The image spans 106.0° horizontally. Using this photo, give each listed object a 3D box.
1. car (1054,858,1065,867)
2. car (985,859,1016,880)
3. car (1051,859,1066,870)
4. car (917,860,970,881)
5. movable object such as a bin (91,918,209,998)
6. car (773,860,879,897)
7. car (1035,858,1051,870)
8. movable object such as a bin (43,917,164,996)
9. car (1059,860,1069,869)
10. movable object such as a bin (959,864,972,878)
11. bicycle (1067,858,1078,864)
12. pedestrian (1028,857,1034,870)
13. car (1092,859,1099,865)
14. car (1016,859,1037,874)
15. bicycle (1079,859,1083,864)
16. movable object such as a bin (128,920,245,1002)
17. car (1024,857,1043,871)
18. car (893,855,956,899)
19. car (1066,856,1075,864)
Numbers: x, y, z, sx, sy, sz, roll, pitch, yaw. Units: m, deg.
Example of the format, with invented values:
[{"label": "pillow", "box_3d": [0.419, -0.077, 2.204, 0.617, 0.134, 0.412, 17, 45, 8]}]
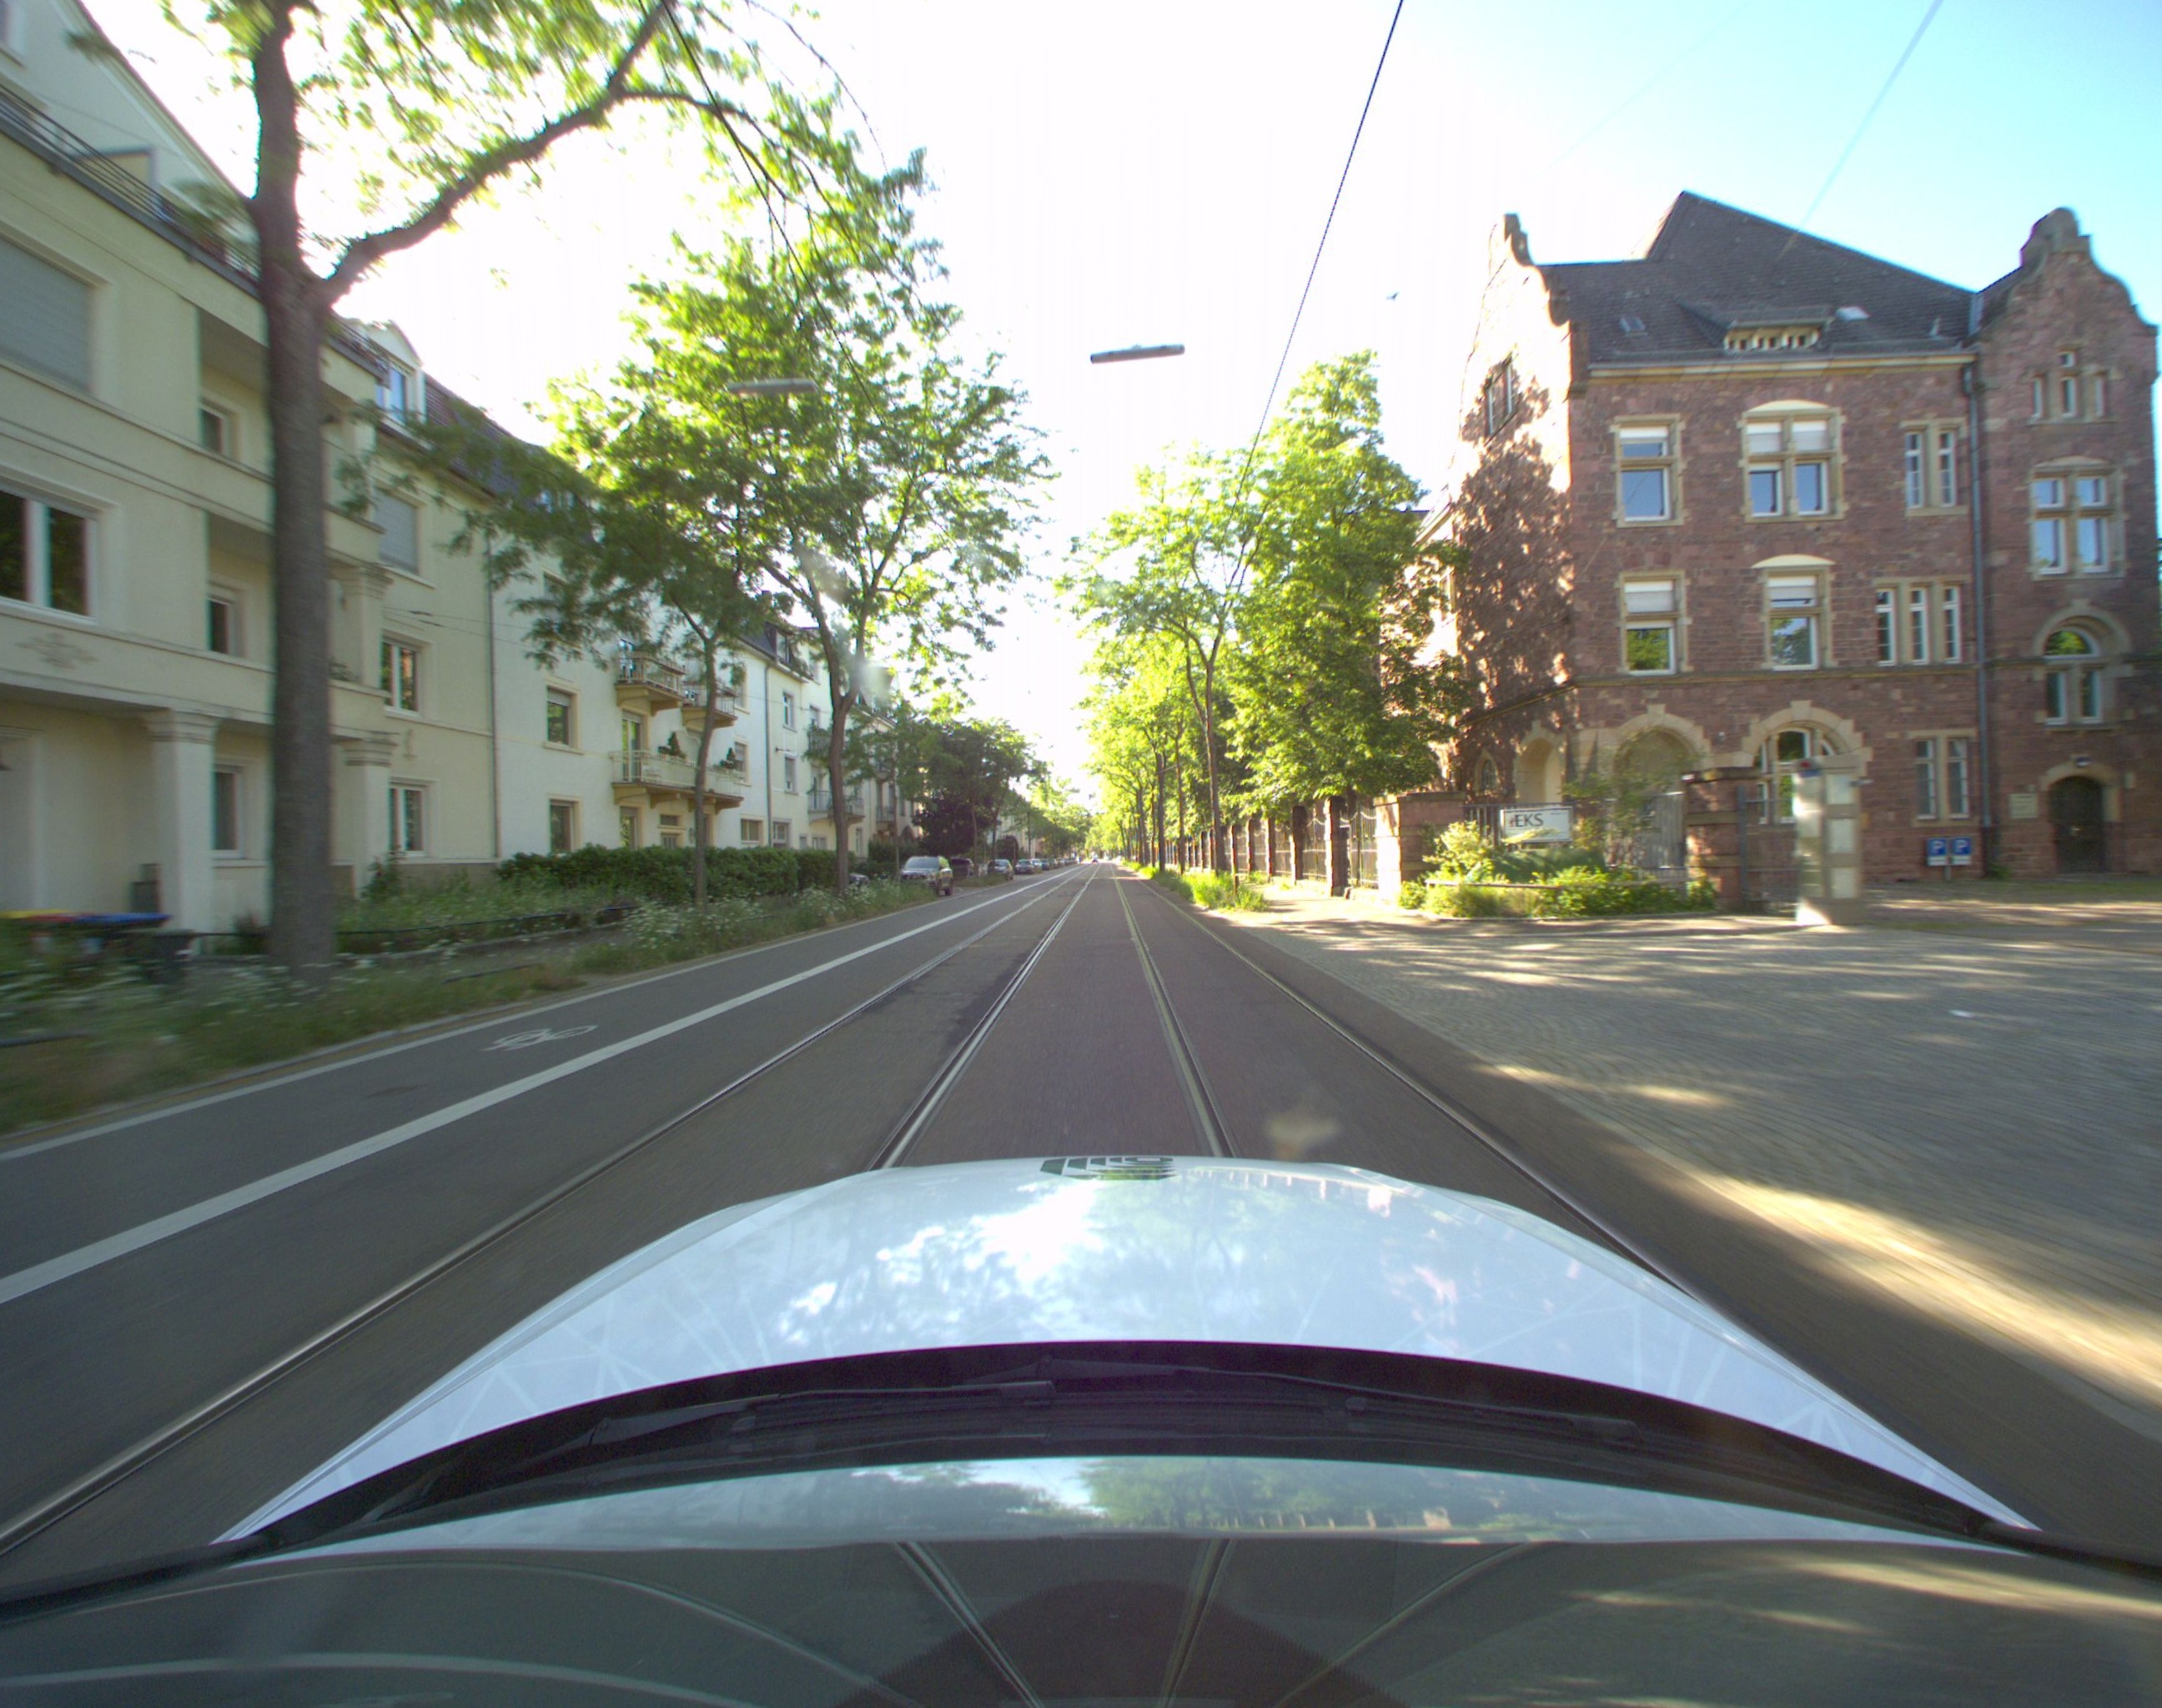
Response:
[{"label": "car", "box_3d": [-3.681, 1.510, 142.269, 1.696, 1.485, 4.080, 1, 0, 2]}, {"label": "car", "box_3d": [-6.094, 1.155, 62.214, 1.770, 1.541, 4.487, 0, 0, 2]}, {"label": "car", "box_3d": [-3.175, 1.497, 116.137, 1.810, 1.485, 4.208, 0, 0, 2]}, {"label": "car", "box_3d": [-11.543, 1.390, 68.611, 4.152, 1.659, 1.983, -1, 0, 0]}, {"label": "movable object such as a bin", "box_3d": [-11.797, 1.299, 10.342, 0.625, 0.921, 0.740, 0, 0, 2]}, {"label": "car", "box_3d": [-11.844, 1.137, 38.001, 4.283, 1.661, 1.954, 0, 0, 3]}, {"label": "car", "box_3d": [-4.731, 1.243, 102.994, 1.752, 1.511, 4.439, 0, 0, 1]}, {"label": "movable object such as a bin", "box_3d": [-12.437, 1.287, 10.383, 0.625, 0.921, 0.740, 0, 0, 2]}, {"label": "car", "box_3d": [-3.190, 1.897, 150.052, 1.681, 1.485, 3.760, 1, 0, 1]}, {"label": "movable object such as a bin", "box_3d": [-9.363, 1.355, 65.878, 0.872, 1.066, 0.814, -2, 0, 2]}, {"label": "bicycle", "box_3d": [-1.947, 1.543, 179.390, 2.271, 1.198, 0.561, 1, 0, 8]}, {"label": "pedestrian", "box_3d": [-6.807, 1.321, 110.633, 0.689, 1.801, 0.813, -2, -1, 1]}, {"label": "car", "box_3d": [3.474, 1.881, 197.370, 1.752, 1.439, 4.523, -1, 0, 1]}, {"label": "car", "box_3d": [-5.437, 1.258, 81.216, 1.699, 1.406, 4.334, 0, 0, 1]}, {"label": "bicycle", "box_3d": [0.041, 1.647, 187.334, 0.624, 1.177, 1.914, -4, 0, 2]}, {"label": "movable object such as a bin", "box_3d": [-11.106, 1.312, 10.133, 0.625, 0.921, 0.740, 0, 0, 2]}, {"label": "car", "box_3d": [-5.375, 1.151, 92.850, 1.811, 1.511, 4.371, 0, 0, 1]}, {"label": "car", "box_3d": [-6.914, 0.959, 36.500, 1.864, 1.823, 4.770, -1, 0, 0]}, {"label": "car", "box_3d": [-2.074, 1.229, 160.115, 1.555, 1.457, 3.930, 1, 0, 0]}]
